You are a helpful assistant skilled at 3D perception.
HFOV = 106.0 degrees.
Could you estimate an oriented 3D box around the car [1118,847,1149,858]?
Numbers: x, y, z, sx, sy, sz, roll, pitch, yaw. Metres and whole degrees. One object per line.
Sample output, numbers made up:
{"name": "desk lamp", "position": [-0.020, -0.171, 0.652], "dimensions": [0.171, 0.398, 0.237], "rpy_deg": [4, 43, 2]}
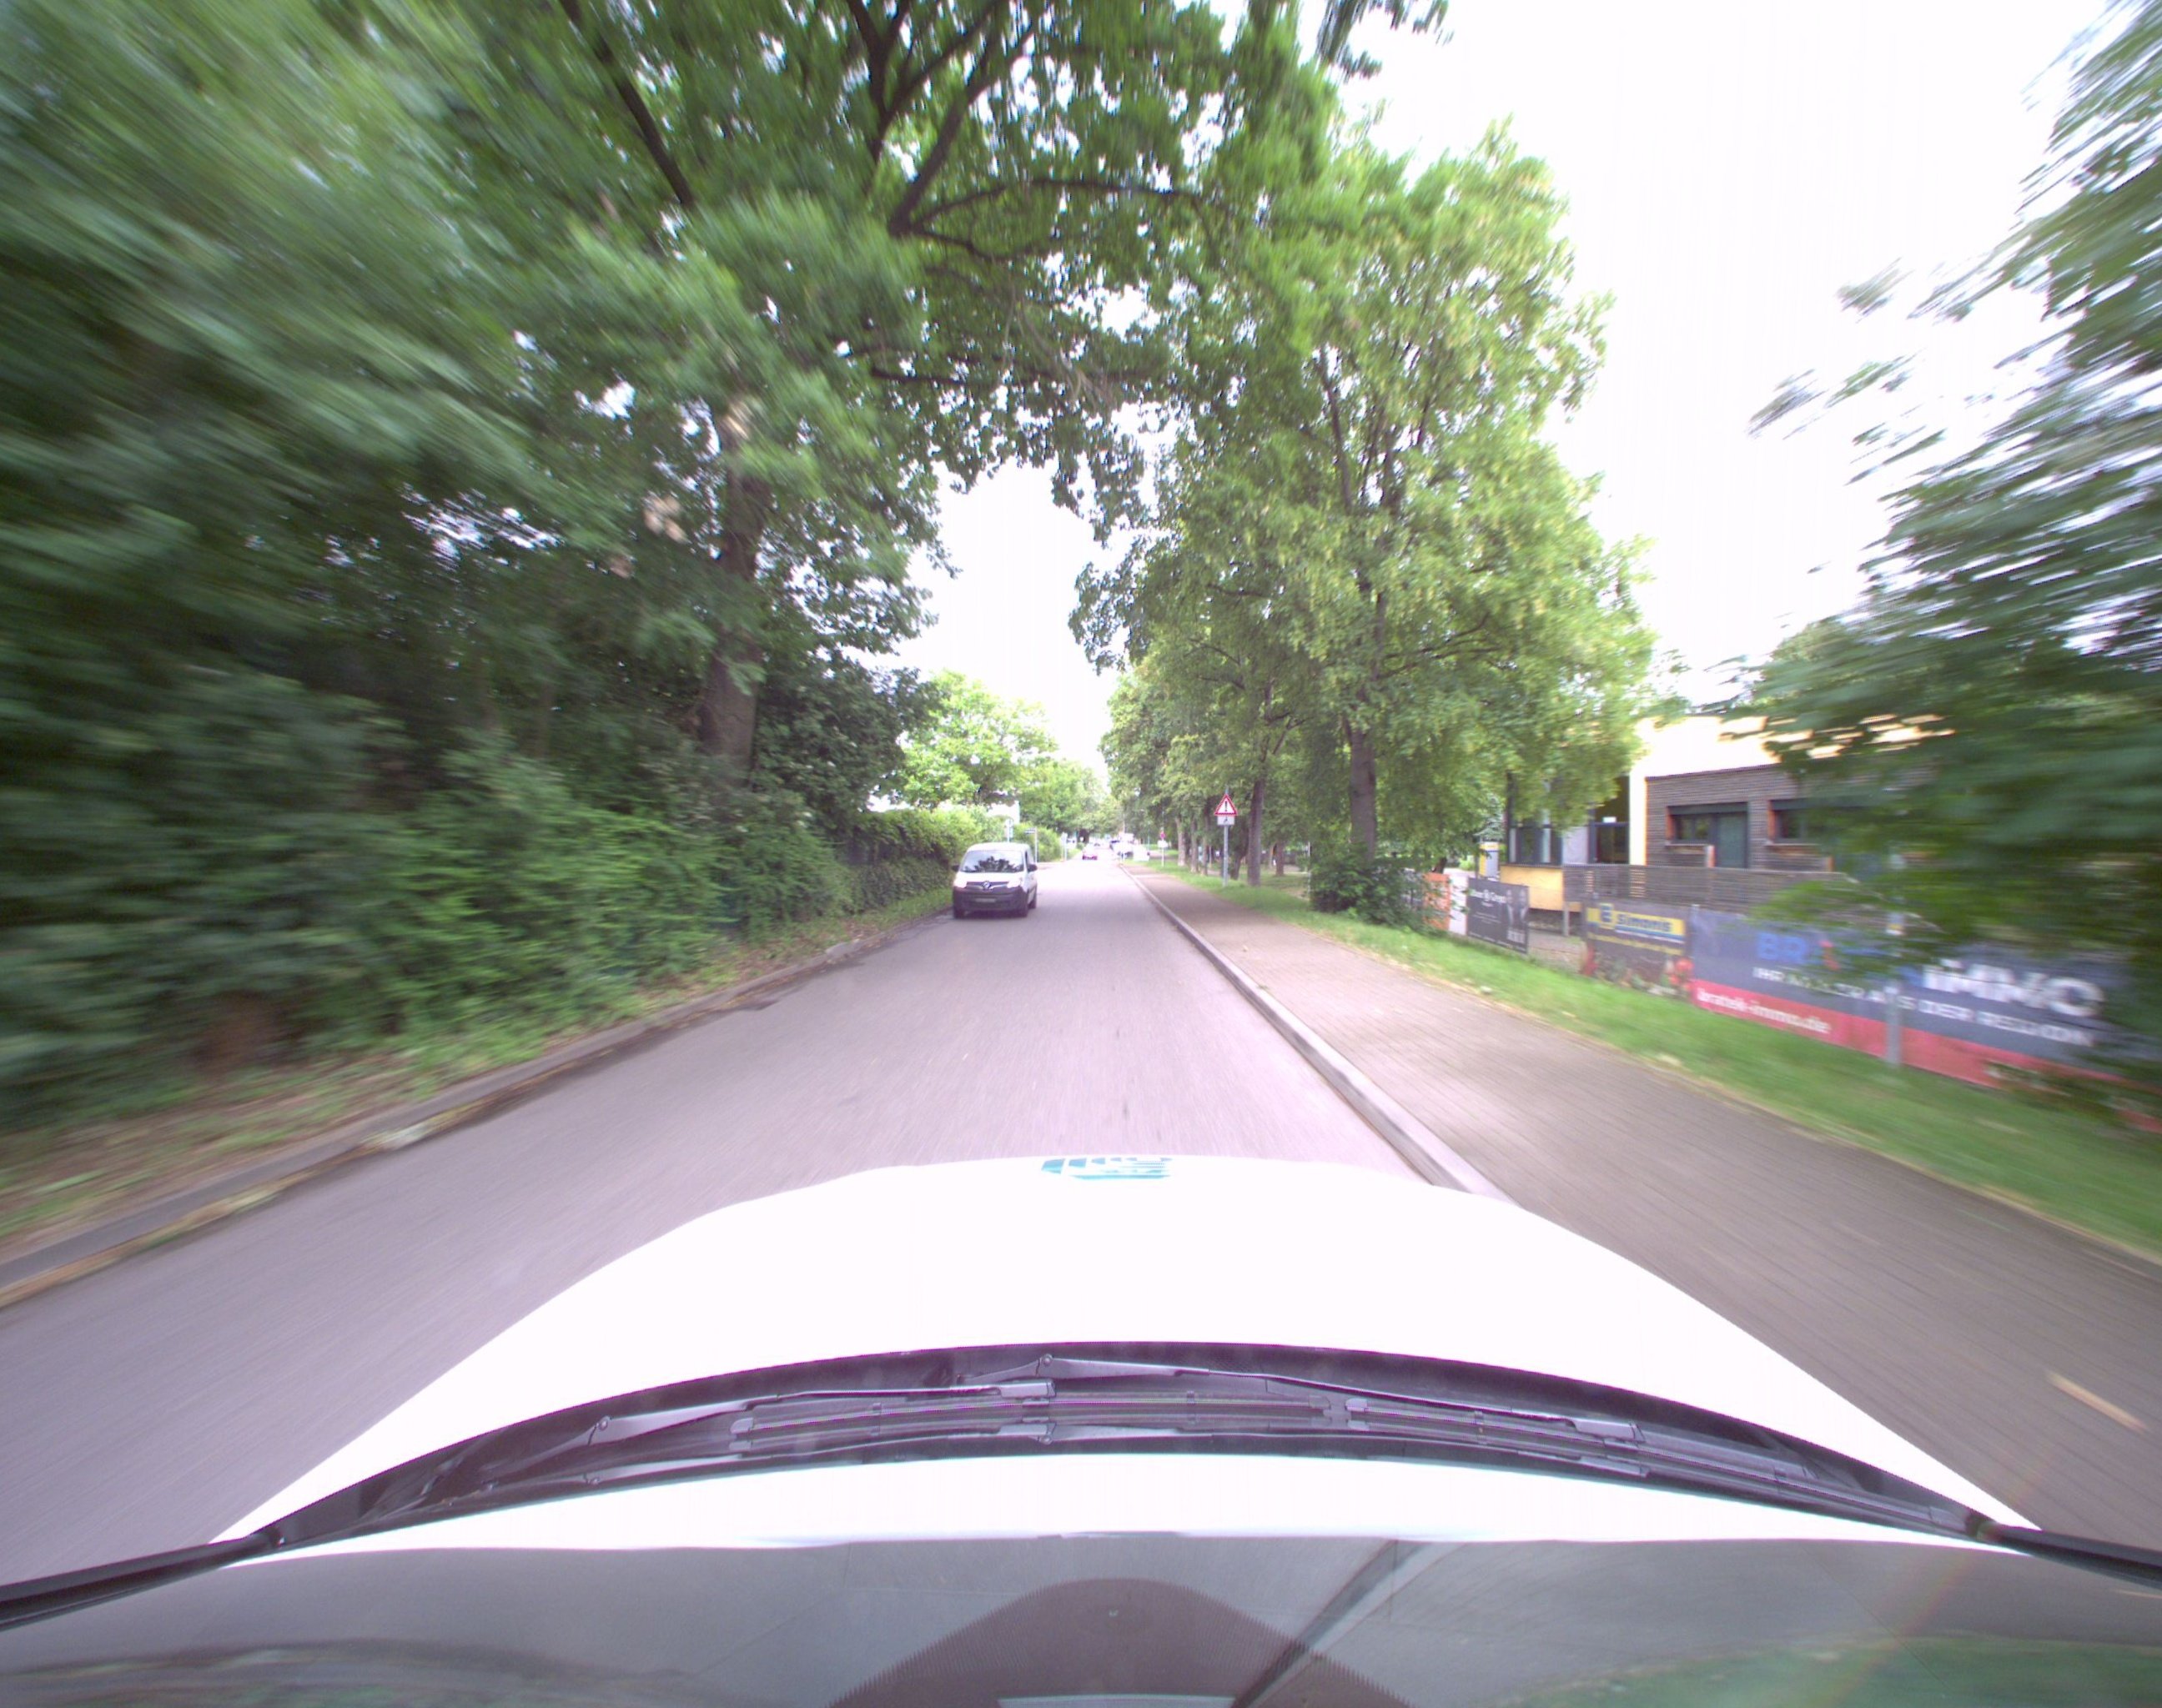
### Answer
{"name": "car", "position": [7.125, -0.243, 110.526], "dimensions": [4.049, 1.434, 2.000], "rpy_deg": [-1, -1, 0]}

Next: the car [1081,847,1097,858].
{"name": "car", "position": [1.015, -0.167, 100.251], "dimensions": [1.742, 1.335, 4.070], "rpy_deg": [1, 1, 4]}

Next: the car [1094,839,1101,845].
{"name": "car", "position": [4.633, -3.362, 230.566], "dimensions": [1.962, 1.747, 4.339], "rpy_deg": [1, 1, 0]}

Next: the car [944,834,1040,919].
{"name": "car", "position": [-2.126, 0.534, 20.715], "dimensions": [1.866, 1.913, 4.431], "rpy_deg": [-1, -1, 1]}

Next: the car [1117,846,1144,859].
{"name": "car", "position": [7.763, -0.238, 128.268], "dimensions": [4.053, 1.687, 1.821], "rpy_deg": [-3, 1, -3]}
